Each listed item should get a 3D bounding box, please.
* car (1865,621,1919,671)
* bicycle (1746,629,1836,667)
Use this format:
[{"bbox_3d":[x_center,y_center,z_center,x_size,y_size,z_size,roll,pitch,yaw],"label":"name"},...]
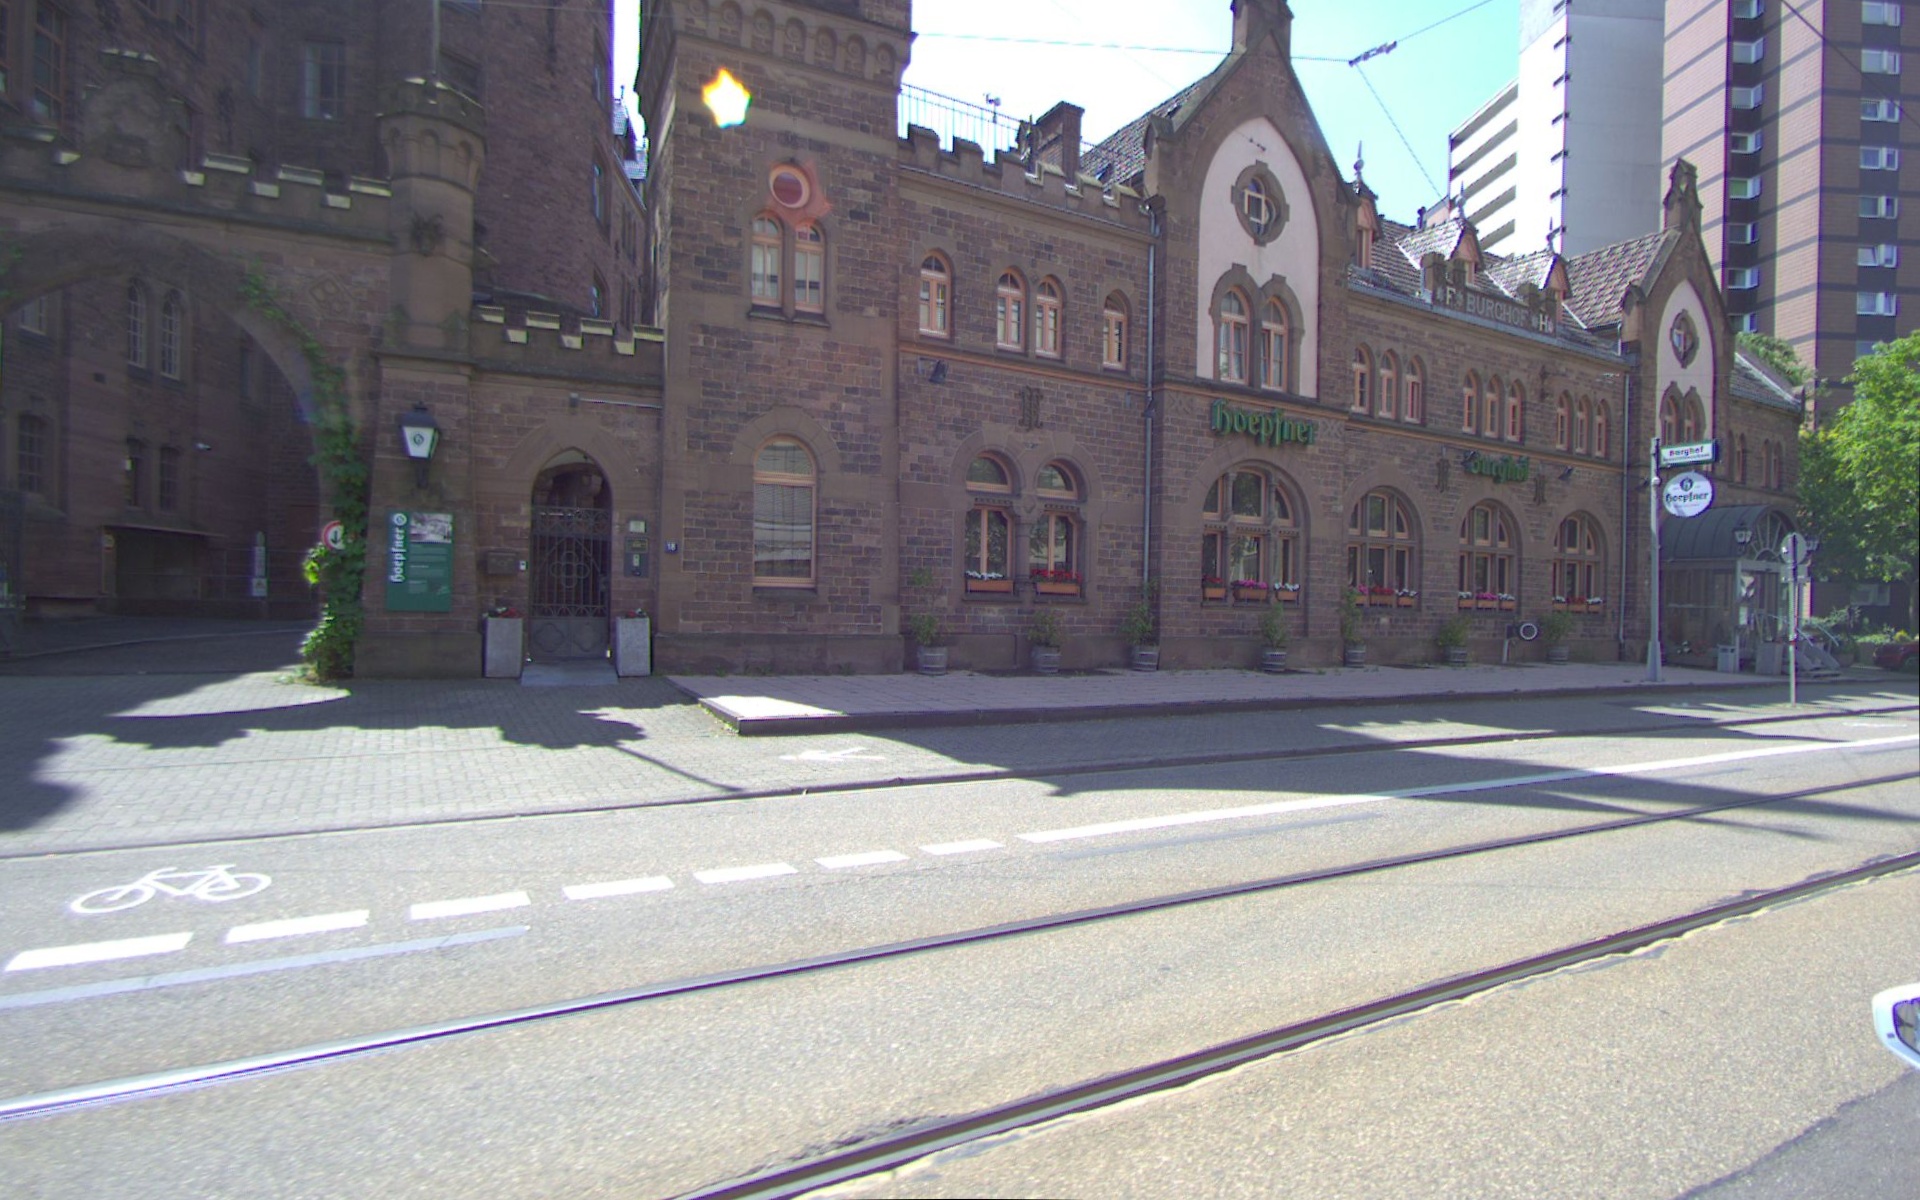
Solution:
[{"bbox_3d":[32.907,1.564,32.778,4.697,1.587,1.997,1,0,32],"label":"car"},{"bbox_3d":[24.822,1.423,30.038,1.974,0.903,0.594,7,4,44],"label":"bicycle"}]
